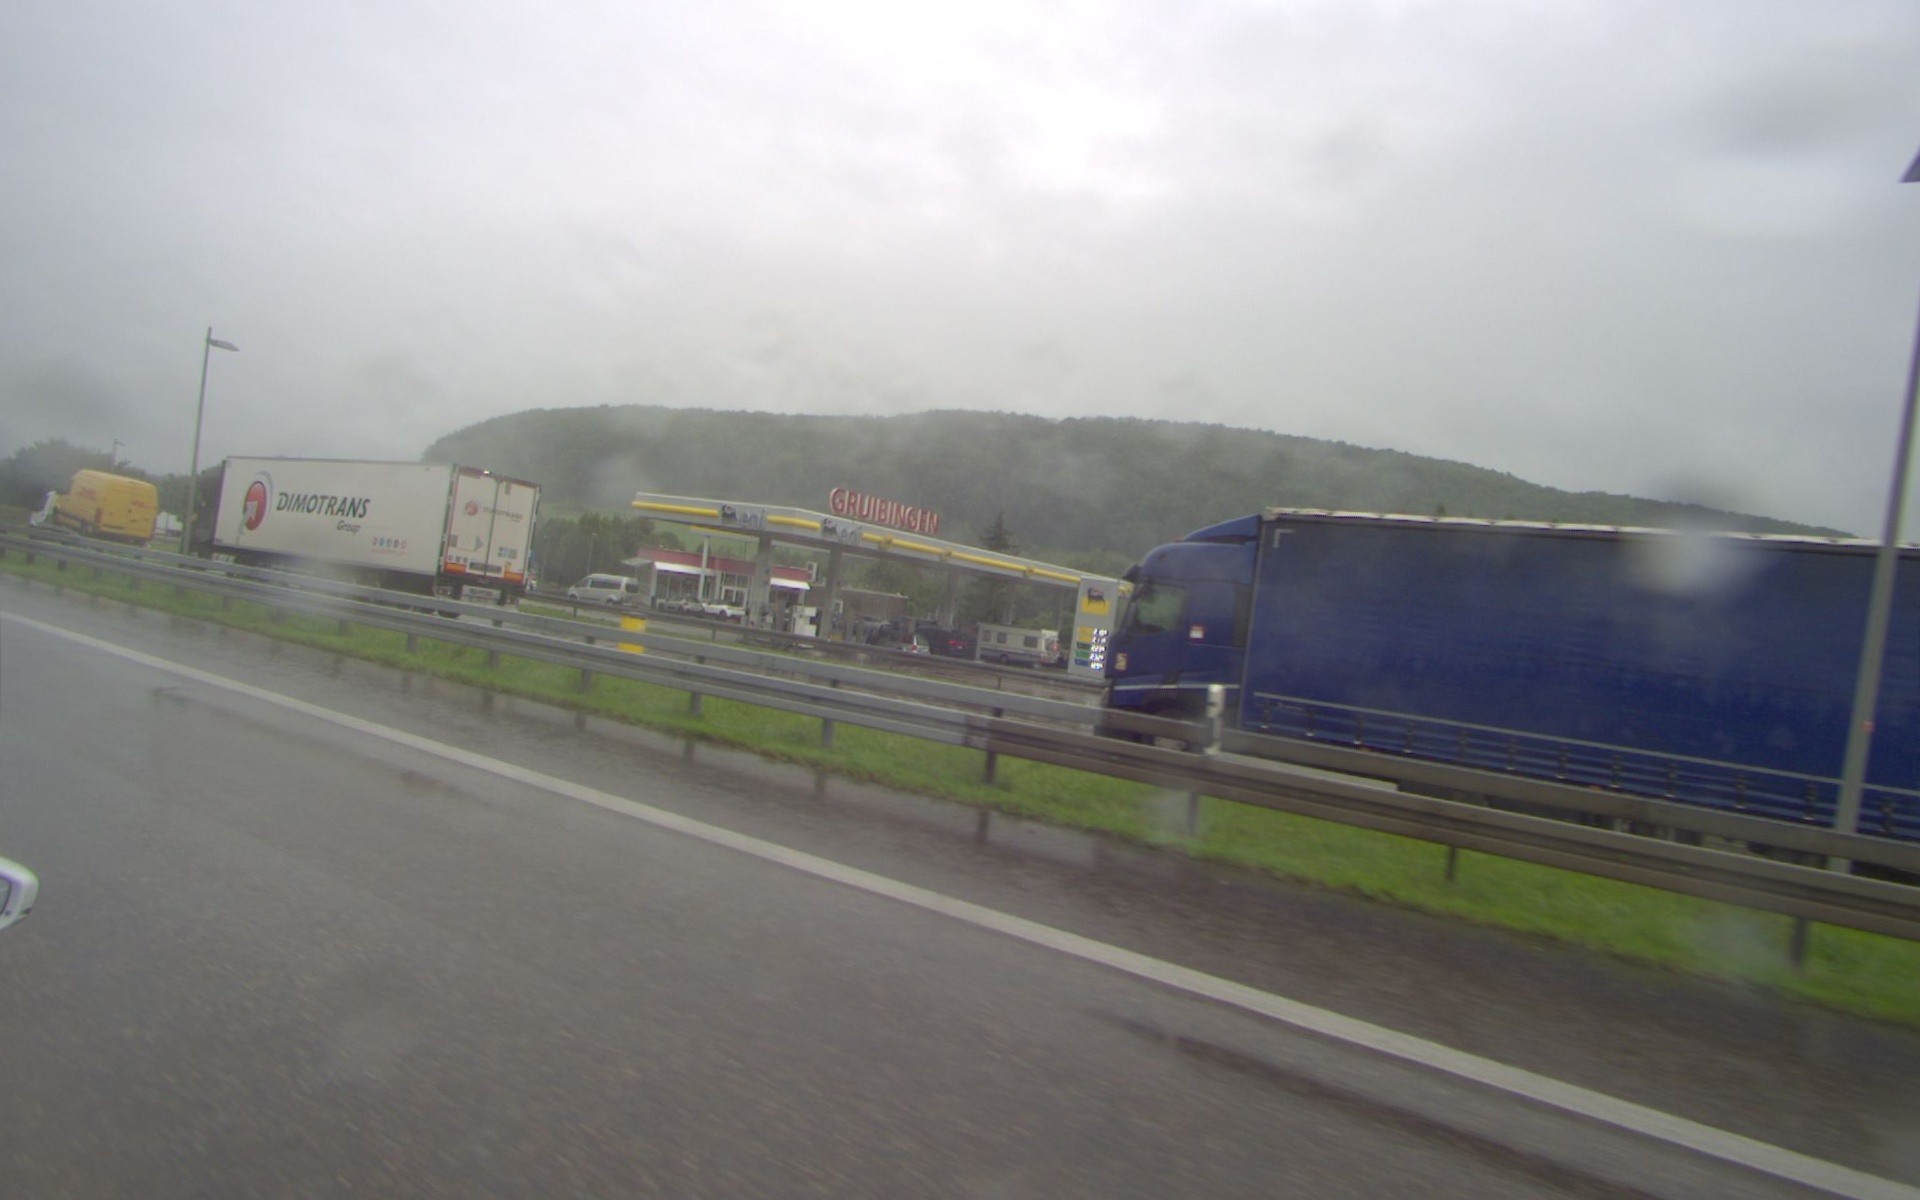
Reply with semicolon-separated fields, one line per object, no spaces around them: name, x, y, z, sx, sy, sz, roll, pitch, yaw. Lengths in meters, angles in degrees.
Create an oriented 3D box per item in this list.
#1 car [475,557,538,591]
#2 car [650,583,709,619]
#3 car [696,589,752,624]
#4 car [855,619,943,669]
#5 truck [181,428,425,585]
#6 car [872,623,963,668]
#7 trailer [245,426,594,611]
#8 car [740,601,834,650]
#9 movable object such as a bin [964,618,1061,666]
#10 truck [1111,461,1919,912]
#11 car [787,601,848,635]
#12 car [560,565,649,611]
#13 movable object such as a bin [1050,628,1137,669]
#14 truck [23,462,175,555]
car;-34.603;-1.940;76.908;3.940;2.037;1.994;8;-1;-17
car;-20.285;0.062;72.764;3.941;2.036;1.995;6;-3;39
car;-17.310;0.497;73.734;3.941;2.036;1.790;6;-3;39
car;-3.153;2.294;52.162;3.934;2.037;1.964;6;-2;32
truck;-21.868;-3.141;33.395;7.688;4.268;3.534;6;-2;32
car;-2.136;2.289;50.726;4.033;1.717;1.996;6;-2;34
trailer;-16.304;-2.548;29.790;11.727;4.310;3.522;6;-2;33
car;-9.595;1.418;55.645;4.820;2.037;1.998;6;-2;32
movable object such as a bin;3.247;2.630;63.219;5.629;2.214;1.998;6;-2;31
truck;8.004;0.830;13.763;10.867;4.452;3.408;7;-2;32
car;-10.954;1.375;77.425;3.925;2.036;2.003;7;-2;18
car;-24.156;-0.813;68.349;5.349;2.335;2.002;7;-2;17
movable object such as a bin;9.043;3.295;68.248;5.293;2.037;2.171;6;-2;31
truck;-35.869;-3.871;41.774;8.721;3.183;2.294;6;-2;34
